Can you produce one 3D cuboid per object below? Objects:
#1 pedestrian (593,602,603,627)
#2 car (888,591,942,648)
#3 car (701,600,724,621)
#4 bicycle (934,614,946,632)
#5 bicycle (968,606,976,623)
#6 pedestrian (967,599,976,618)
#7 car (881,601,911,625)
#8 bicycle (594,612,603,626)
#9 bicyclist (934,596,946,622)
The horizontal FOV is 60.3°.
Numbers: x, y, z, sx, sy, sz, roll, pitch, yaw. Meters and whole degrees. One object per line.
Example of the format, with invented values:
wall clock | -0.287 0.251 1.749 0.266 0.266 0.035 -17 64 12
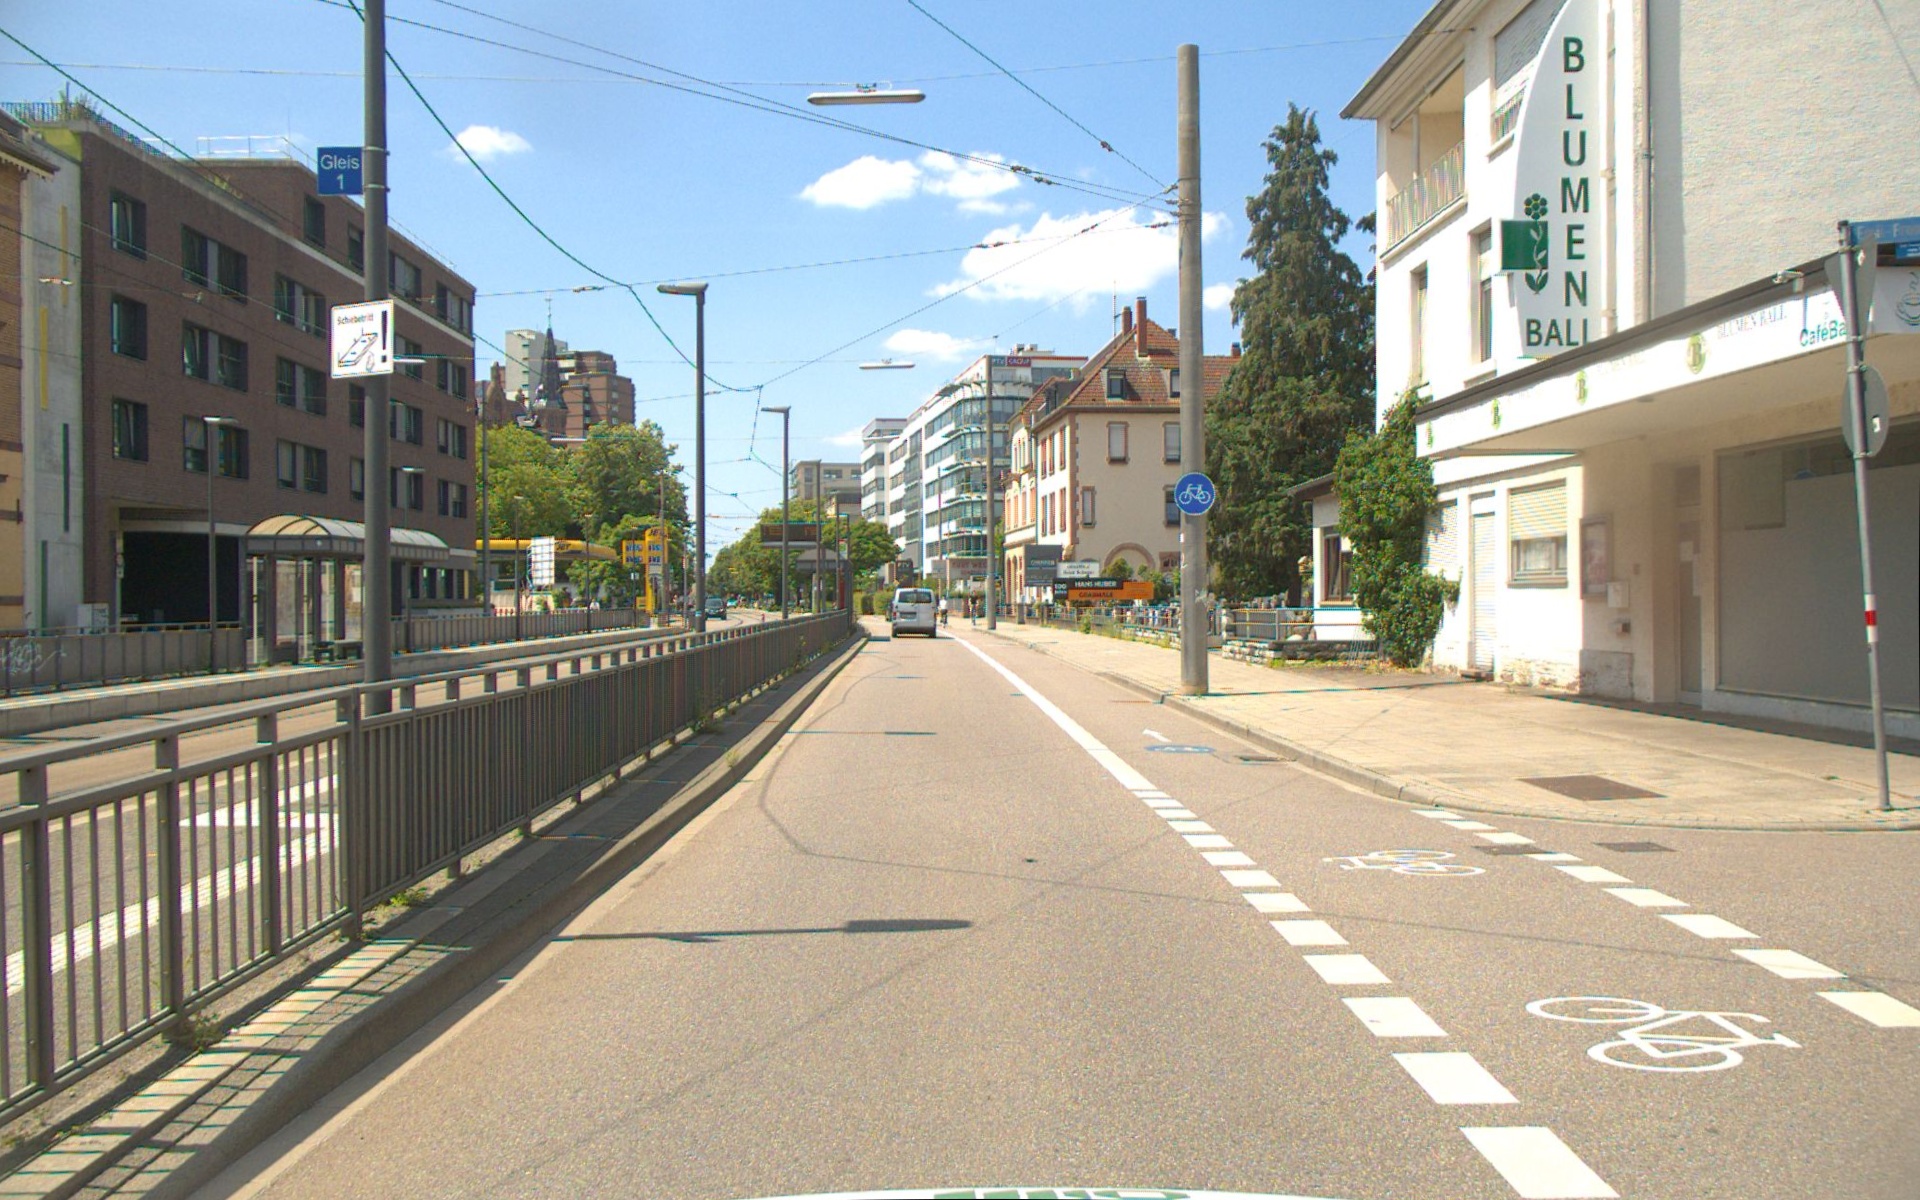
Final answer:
pedestrian | -20.371 0.804 93.103 0.426 1.408 0.535 -2 -1 -2
car | -1.770 0.701 63.647 1.718 2.048 3.995 -2 1 -6
car | -19.840 0.866 132.521 1.666 1.644 3.753 -1 0 -6
bicycle | -1.075 1.223 88.689 0.457 0.903 2.045 0 0 -6
bicycle | 0.675 0.803 93.279 0.349 0.956 1.317 -2 -1 -1
pedestrian | 0.648 0.484 93.328 0.473 1.072 0.536 -2 -1 -1
car | -4.889 0.969 126.256 1.828 1.716 4.993 -1 0 -7
bicycle | -20.342 1.080 93.098 0.286 0.775 1.186 -2 -1 -1
bicyclist | -1.055 0.482 88.621 0.580 1.421 0.840 0 0 -6
